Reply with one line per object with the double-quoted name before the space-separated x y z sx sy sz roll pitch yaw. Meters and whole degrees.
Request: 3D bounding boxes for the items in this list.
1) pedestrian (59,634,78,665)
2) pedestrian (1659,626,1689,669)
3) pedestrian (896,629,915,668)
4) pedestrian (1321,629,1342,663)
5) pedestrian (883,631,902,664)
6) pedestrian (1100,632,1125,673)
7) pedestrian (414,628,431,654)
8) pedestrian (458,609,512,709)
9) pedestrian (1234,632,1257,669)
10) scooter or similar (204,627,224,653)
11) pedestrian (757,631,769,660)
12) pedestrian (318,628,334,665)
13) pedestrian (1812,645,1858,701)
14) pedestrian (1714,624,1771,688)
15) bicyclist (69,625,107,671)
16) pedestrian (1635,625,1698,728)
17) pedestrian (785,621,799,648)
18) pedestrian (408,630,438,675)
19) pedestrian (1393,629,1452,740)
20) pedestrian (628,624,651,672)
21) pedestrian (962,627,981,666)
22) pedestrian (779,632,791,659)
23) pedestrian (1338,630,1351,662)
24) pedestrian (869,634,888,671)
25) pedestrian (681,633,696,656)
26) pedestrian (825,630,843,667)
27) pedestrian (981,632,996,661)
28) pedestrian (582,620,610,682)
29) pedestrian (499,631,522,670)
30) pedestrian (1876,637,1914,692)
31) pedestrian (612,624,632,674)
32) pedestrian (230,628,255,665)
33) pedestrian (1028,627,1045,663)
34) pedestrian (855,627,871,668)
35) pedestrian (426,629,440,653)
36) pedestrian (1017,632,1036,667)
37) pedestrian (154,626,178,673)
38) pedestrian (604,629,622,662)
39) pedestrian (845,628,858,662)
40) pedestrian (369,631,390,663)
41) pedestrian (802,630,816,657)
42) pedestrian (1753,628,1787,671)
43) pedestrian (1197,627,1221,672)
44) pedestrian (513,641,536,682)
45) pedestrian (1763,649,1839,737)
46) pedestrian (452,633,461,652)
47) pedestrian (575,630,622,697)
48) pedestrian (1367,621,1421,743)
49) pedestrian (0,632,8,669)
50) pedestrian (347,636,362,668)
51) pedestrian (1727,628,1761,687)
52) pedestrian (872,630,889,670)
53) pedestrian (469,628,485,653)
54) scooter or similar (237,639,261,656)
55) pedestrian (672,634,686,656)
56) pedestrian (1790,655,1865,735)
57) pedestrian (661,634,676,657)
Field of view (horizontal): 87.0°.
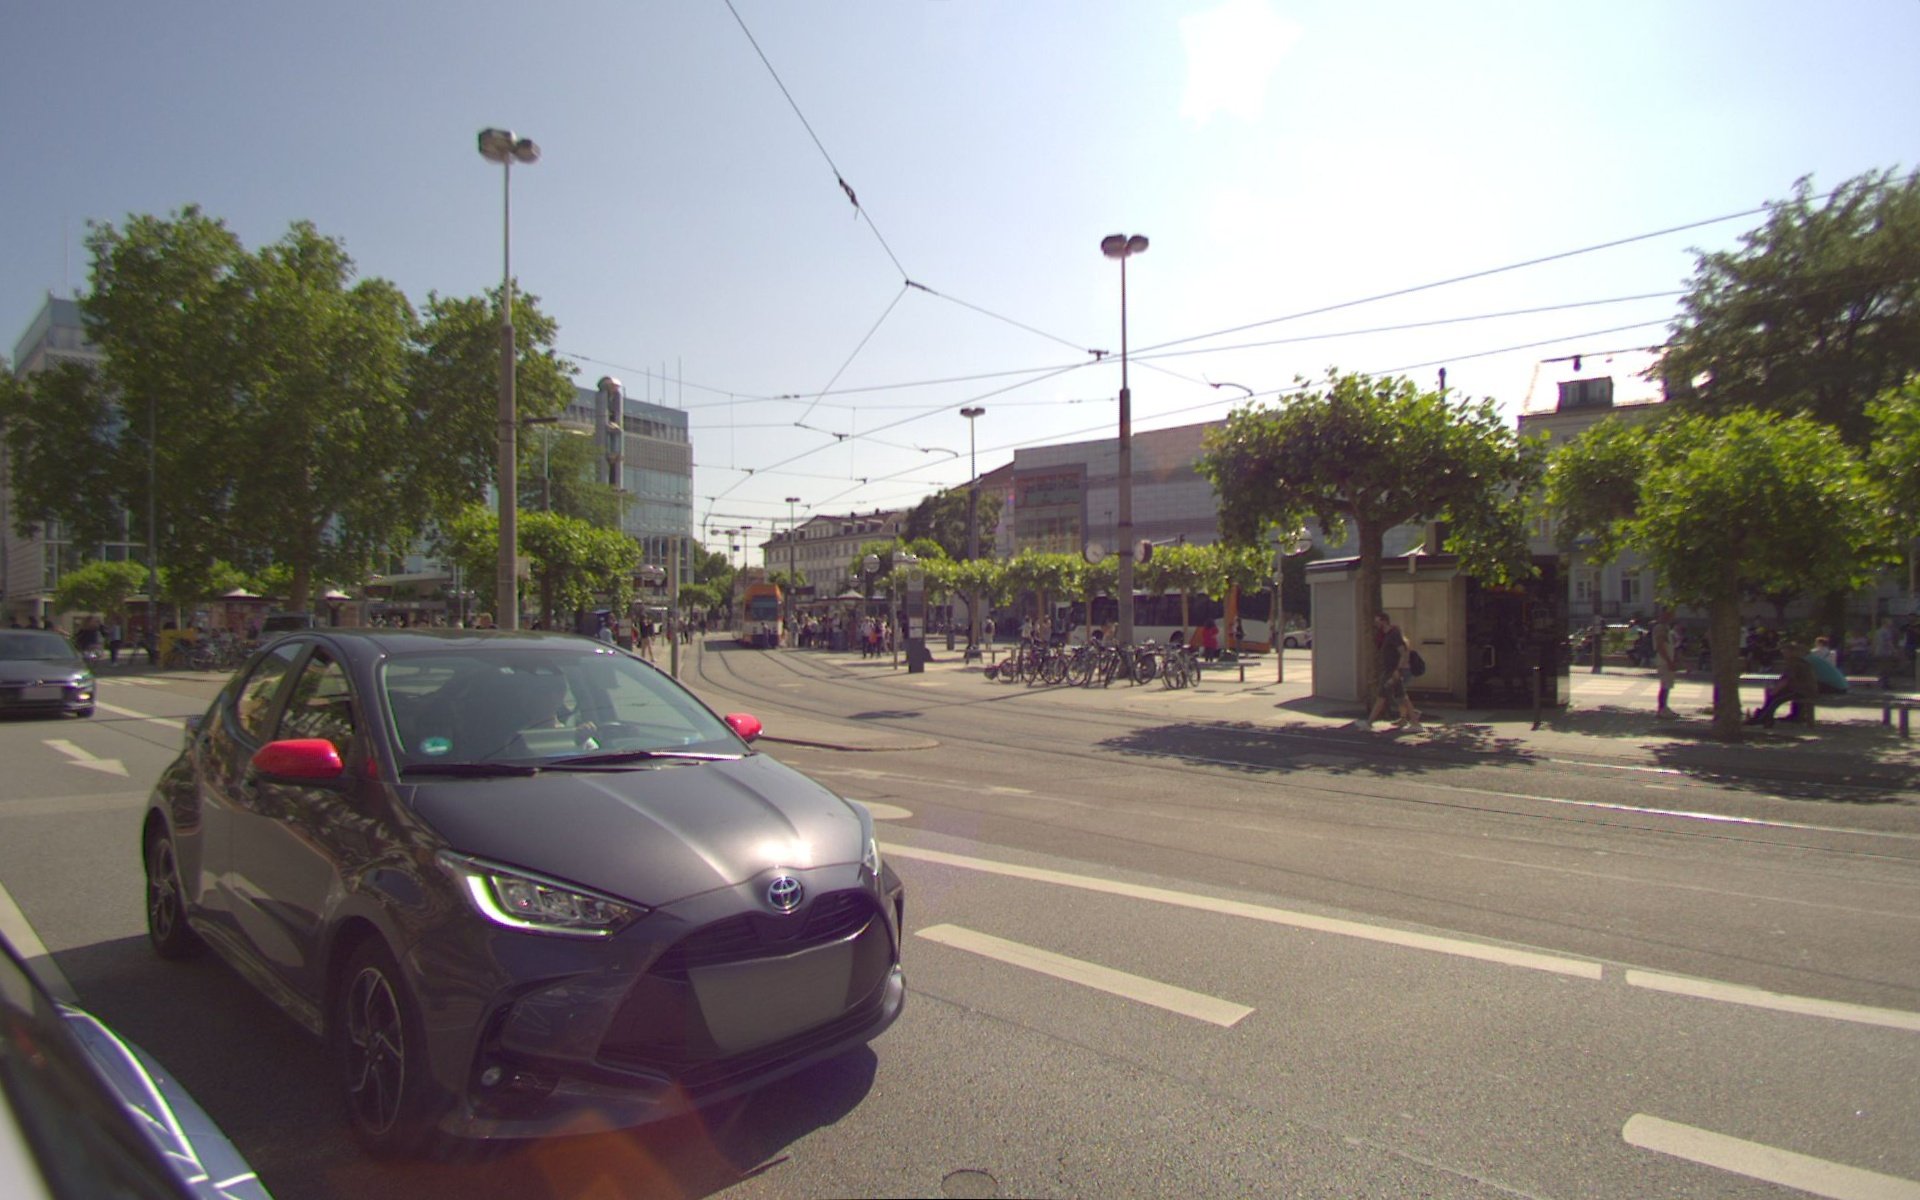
"pedestrian" -49.912 2.765 56.650 0.721 1.682 0.641 -2 0 -36
"pedestrian" 21.680 1.450 30.721 0.613 1.273 0.583 4 -5 -40
"pedestrian" -2.000 1.784 37.359 0.617 1.429 0.680 0 -4 3
"pedestrian" 16.480 2.052 44.901 0.680 1.477 0.616 -3 -5 43
"pedestrian" -3.110 2.213 46.921 0.675 1.513 0.621 -1 -4 18
"pedestrian" 5.510 1.900 36.574 0.670 1.477 0.625 4 -5 -43
"pedestrian" -37.859 2.892 71.289 0.780 1.760 0.744 -2 0 31
"pedestrian" -9.894 1.232 21.111 0.670 2.023 0.895 1 -3 -3
"pedestrian" 11.692 2.065 41.480 0.680 1.477 0.616 -3 -5 43
"scooter or similar" -32.651 1.752 44.313 0.559 1.128 0.540 -2 0 -22
"pedestrian" -10.591 2.444 54.439 0.448 1.561 0.474 -1 -4 14
"pedestrian" -30.028 2.203 47.938 0.547 1.740 0.492 -2 0 -42
"pedestrian" 16.156 1.340 18.679 0.580 1.008 0.627 -3 -5 43
"pedestrian" 22.583 1.627 29.212 0.953 1.807 1.082 4 -5 -40
"bicyclist" -30.173 1.642 35.029 1.160 1.509 0.820 -2 0 41
"pedestrian" 11.378 1.218 16.315 0.597 1.622 0.574 0 -4 12
"pedestrian" -9.750 2.009 58.641 0.573 1.561 0.677 -1 -4 14
"pedestrian" -17.912 1.747 33.746 0.680 1.477 0.616 -3 -5 41
"pedestrian" 7.000 1.269 15.322 0.518 1.622 0.627 4 -5 -40
"pedestrian" -12.427 1.863 39.252 0.605 1.830 0.570 -3 -5 40
"pedestrian" 0.462 1.913 41.689 0.530 1.565 0.592 -3 -5 43
"pedestrian" -10.386 2.686 59.984 0.568 1.561 0.682 2 -4 -23
"pedestrian" 17.519 2.099 46.113 0.558 1.477 0.582 -1 -4 22
"pedestrian" -3.338 2.157 41.456 0.549 1.477 0.621 -1 -4 18
"pedestrian" -18.174 2.974 67.644 0.555 1.483 0.748 -2 0 40
"pedestrian" -6.235 2.413 50.188 0.675 1.809 0.621 -1 -4 18
"pedestrian" 1.449 2.341 51.033 0.672 1.477 0.623 0 -4 7
"pedestrian" -12.180 1.689 33.840 0.563 2.023 0.686 -1 -1 31
"pedestrian" -17.263 1.951 38.896 0.716 1.477 0.682 2 -4 -29
"pedestrian" 21.779 1.501 23.585 0.479 1.273 0.400 -1 -4 22
"pedestrian" -12.046 1.738 36.070 0.614 1.759 0.682 1 -4 -15
"pedestrian" -29.629 1.904 41.815 0.570 1.472 0.788 -2 0 -16
"pedestrian" 3.156 1.875 41.951 0.585 1.477 0.522 -1 -4 21
"pedestrian" -3.993 1.975 41.744 0.518 1.678 0.469 -1 -4 19
"pedestrian" -39.511 3.069 75.883 0.740 1.760 0.784 -2 0 -11
"pedestrian" 2.820 2.093 42.842 0.621 1.477 0.675 -1 -4 25
"pedestrian" -30.082 1.866 38.327 0.516 1.756 0.511 -2 0 27
"pedestrian" -16.534 2.162 48.223 0.657 1.561 0.565 -3 -5 43
"pedestrian" -5.540 2.317 51.855 0.462 1.731 0.555 -1 -4 18
"pedestrian" -33.390 2.701 58.185 0.780 1.760 0.744 -2 0 31
"pedestrian" -8.672 2.491 58.189 0.573 1.561 0.677 -1 -4 14
"pedestrian" 24.371 1.482 30.463 0.572 1.273 0.624 3 -5 -35
"pedestrian" 8.148 1.627 33.159 0.617 1.477 0.680 0 -4 3
"pedestrian" -13.380 1.877 31.086 0.568 1.243 0.555 0 -1 -15
"pedestrian" 12.384 1.352 14.927 0.751 1.256 0.669 -2 -5 34
"pedestrian" -38.330 3.235 77.089 0.410 1.483 0.459 -2 0 38
"pedestrian" -9.169 1.593 25.691 0.678 1.671 0.885 -2 -2 31
"pedestrian" 6.377 1.192 14.890 0.581 1.747 0.524 0 -4 11
"pedestrian" -45.688 2.409 47.873 0.730 1.760 0.743 -2 0 31
"pedestrian" -34.128 2.923 57.084 0.629 1.706 0.754 -2 0 -27
"pedestrian" 23.985 1.761 30.965 0.572 1.792 0.624 3 -5 -35
"pedestrian" -3.471 2.186 44.156 0.584 1.744 0.557 -1 -4 18
"pedestrian" -35.904 3.017 75.261 0.780 1.760 0.744 -2 0 31
"scooter or similar" -28.899 1.924 41.150 0.570 0.652 0.788 -2 0 -16
"pedestrian" -18.871 3.013 67.962 0.555 1.483 0.748 -2 0 40
"pedestrian" 13.298 1.442 15.535 0.751 1.180 0.669 -2 -5 34
"pedestrian" -19.578 3.029 67.967 0.555 1.483 0.748 -2 0 40
